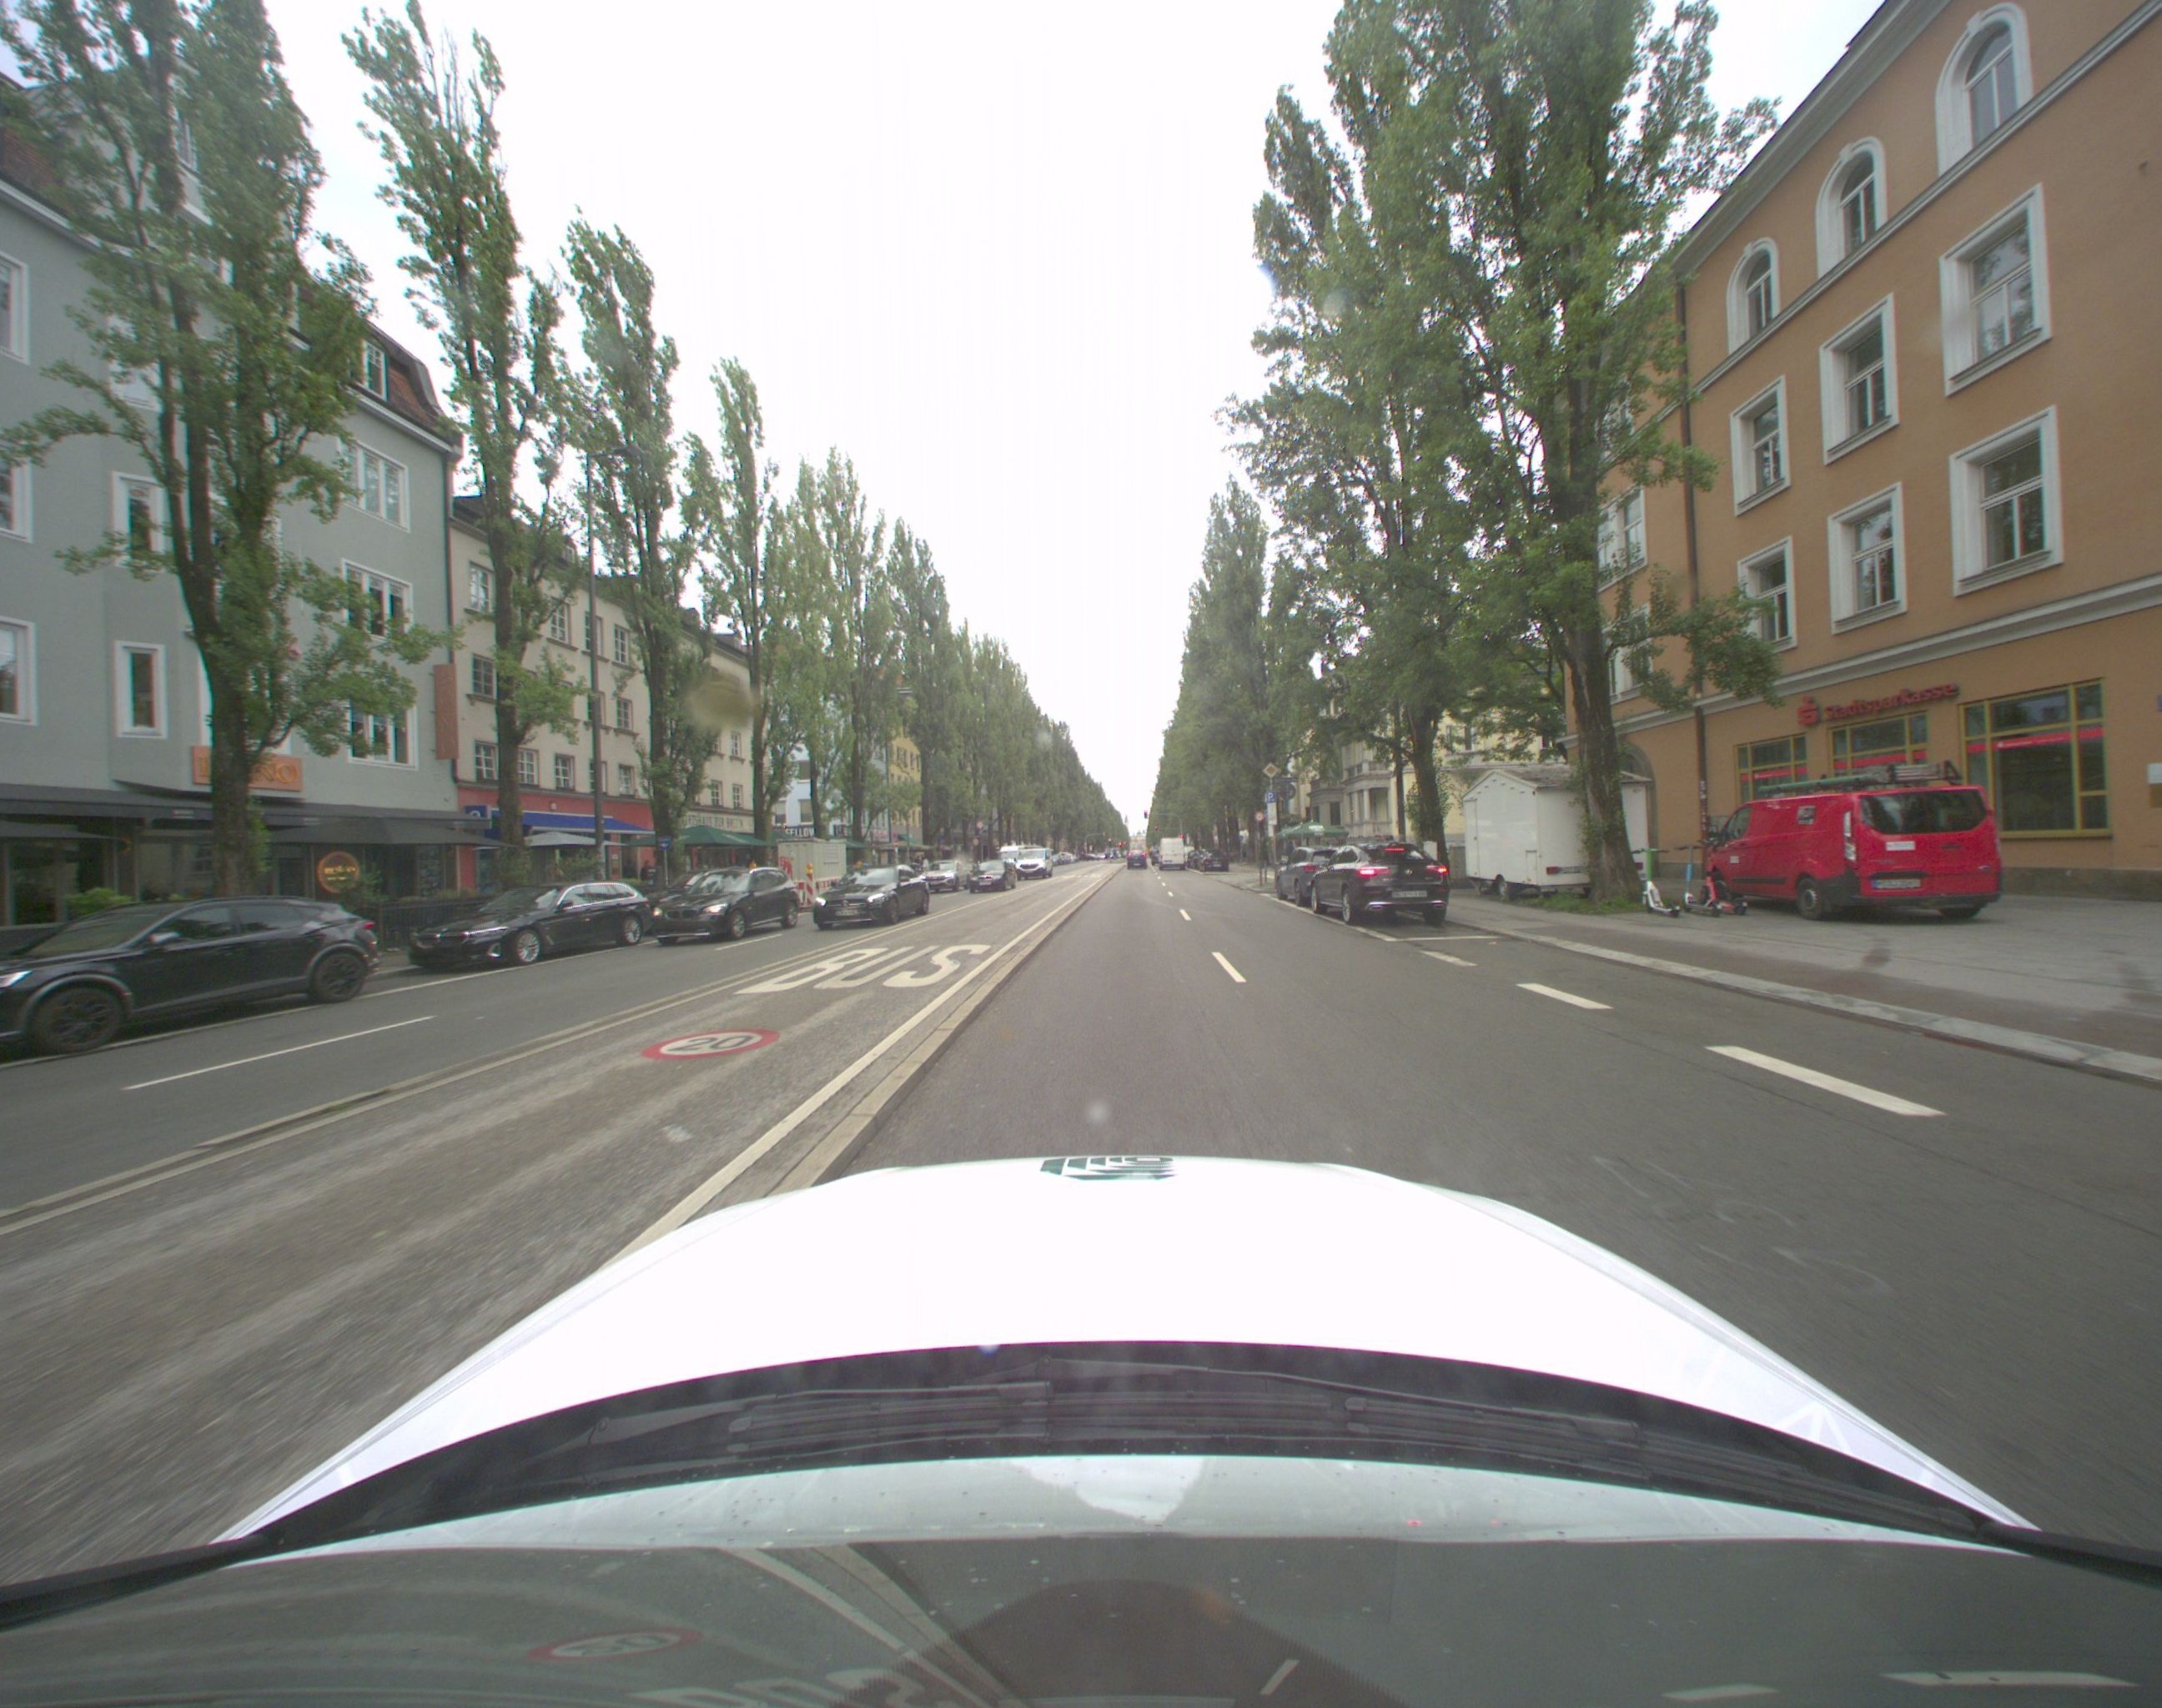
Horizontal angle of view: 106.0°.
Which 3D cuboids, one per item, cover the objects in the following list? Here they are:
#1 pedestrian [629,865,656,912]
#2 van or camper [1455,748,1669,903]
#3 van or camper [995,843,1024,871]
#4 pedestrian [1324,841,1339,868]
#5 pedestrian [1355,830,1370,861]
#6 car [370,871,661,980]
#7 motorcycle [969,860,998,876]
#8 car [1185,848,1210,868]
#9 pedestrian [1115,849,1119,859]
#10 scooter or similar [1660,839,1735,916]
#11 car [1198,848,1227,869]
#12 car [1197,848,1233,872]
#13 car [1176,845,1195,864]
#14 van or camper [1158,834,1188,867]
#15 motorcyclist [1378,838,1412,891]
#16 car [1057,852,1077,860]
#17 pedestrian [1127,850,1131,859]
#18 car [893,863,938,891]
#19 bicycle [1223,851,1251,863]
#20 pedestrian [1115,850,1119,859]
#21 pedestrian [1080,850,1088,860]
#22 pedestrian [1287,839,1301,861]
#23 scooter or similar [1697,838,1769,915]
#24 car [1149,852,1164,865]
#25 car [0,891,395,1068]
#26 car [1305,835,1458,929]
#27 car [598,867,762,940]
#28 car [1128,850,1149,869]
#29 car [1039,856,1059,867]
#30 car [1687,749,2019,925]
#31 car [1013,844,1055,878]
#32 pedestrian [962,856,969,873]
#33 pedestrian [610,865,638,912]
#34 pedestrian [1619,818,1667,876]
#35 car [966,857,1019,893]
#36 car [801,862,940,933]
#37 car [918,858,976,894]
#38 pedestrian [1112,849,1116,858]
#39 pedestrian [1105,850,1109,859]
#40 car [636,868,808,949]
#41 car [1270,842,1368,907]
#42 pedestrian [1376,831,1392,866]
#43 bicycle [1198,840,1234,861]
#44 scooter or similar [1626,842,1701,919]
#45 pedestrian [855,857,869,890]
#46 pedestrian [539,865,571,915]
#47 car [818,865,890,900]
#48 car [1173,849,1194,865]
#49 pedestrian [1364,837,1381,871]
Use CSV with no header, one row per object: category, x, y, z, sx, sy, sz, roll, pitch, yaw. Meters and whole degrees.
pedestrian,-17.882,1.396,33.232,0.635,1.862,0.648,-3,0,3
van or camper,11.143,-0.601,19.411,2.449,3.112,4.721,-3,0,4
van or camper,-6.583,0.266,75.637,1.985,2.458,4.255,-2,0,3
pedestrian,17.915,0.019,58.335,0.758,1.853,0.740,-3,0,0
pedestrian,15.333,-0.471,44.315,0.643,1.647,0.768,-1,-1,13
car,-10.810,1.256,16.166,1.984,1.596,4.898,-3,0,5
motorcycle,-7.520,1.080,63.143,1.231,1.140,3.726,-2,0,9
car,10.105,0.367,70.953,1.797,1.596,4.004,-1,-1,4
pedestrian,6.621,0.022,149.918,0.550,1.716,0.493,-3,0,4
scooter or similar,10.606,0.380,14.045,0.482,1.232,1.412,-4,0,16
car,9.928,0.321,61.661,1.777,1.524,3.944,-2,0,3
car,9.150,0.398,55.850,1.936,1.467,4.003,-3,0,3
car,11.329,0.070,88.371,1.797,1.992,4.004,-1,-1,4
van or camper,7.286,-0.257,64.832,2.026,2.475,4.003,-2,-1,3
motorcyclist,8.727,0.284,22.652,0.562,1.406,0.766,-3,0,0
car,-2.934,0.423,170.199,3.980,1.745,1.997,-1,-1,-5
pedestrian,8.796,0.090,149.674,0.550,1.716,0.493,-3,0,4
car,-8.848,1.204,43.819,1.505,1.344,3.240,-3,0,3
bicycle,13.632,0.280,71.371,0.764,1.023,2.707,-2,0,-31
pedestrian,6.554,0.053,148.070,0.550,1.716,0.493,-3,0,4
pedestrian,0.607,0.214,163.982,1.144,1.916,1.143,-3,0,-28
pedestrian,17.752,-0.359,67.882,0.805,1.755,0.939,-3,0,36
scooter or similar,11.069,0.355,13.861,0.482,1.232,1.173,-4,0,16
car,7.959,0.438,86.216,1.497,1.313,3.286,-2,0,3
car,-11.236,1.358,9.808,1.984,1.482,4.325,-3,0,4
car,6.137,0.496,17.226,1.871,1.642,4.590,-3,0,5
car,-10.627,1.236,21.991,1.839,1.564,4.341,-3,0,6
car,4.975,0.481,70.837,1.751,1.619,3.751,-1,-1,4
car,-4.349,1.079,110.579,1.983,1.420,4.008,-1,-1,7
car,12.357,-0.251,13.595,1.887,2.328,4.845,-3,0,15
car,-2.968,0.456,52.806,1.985,1.934,4.923,-4,-1,4
pedestrian,-12.880,1.130,90.533,0.579,1.856,0.676,-2,0,3
pedestrian,-18.617,1.407,33.185,0.635,1.862,0.648,-3,0,3
pedestrian,16.349,-0.197,23.712,0.816,1.613,0.780,-3,0,6
car,-3.924,0.920,36.573,1.704,1.414,3.726,-3,0,3
car,-5.219,1.020,20.954,1.985,1.432,4.776,-4,0,3
car,-6.385,1.022,39.284,1.818,1.532,4.004,-3,-1,4
pedestrian,7.601,-0.121,188.520,0.767,2.014,0.898,-1,-1,3
pedestrian,4.743,0.092,148.441,0.550,1.716,0.493,-3,0,4
car,-8.140,1.167,18.941,1.840,1.564,4.216,-3,-1,4
car,6.524,0.511,22.800,1.617,1.565,4.375,-3,0,3
pedestrian,16.537,-0.297,44.450,0.696,1.873,0.768,-1,-1,13
bicycle,13.770,-0.366,82.864,3.525,2.014,1.301,-1,-1,12
scooter or similar,10.115,0.434,14.182,0.521,1.232,1.483,-4,0,16
pedestrian,-11.846,1.040,44.070,0.665,1.787,0.826,-1,-1,-12
pedestrian,-18.620,1.275,28.844,0.635,1.700,0.648,-3,0,3
car,-9.527,1.172,34.506,1.802,1.250,3.703,-2,0,3
car,10.346,0.339,82.368,1.755,1.596,4.004,-1,-1,4
pedestrian,14.553,-0.004,40.642,0.662,1.650,0.630,-2,0,30
